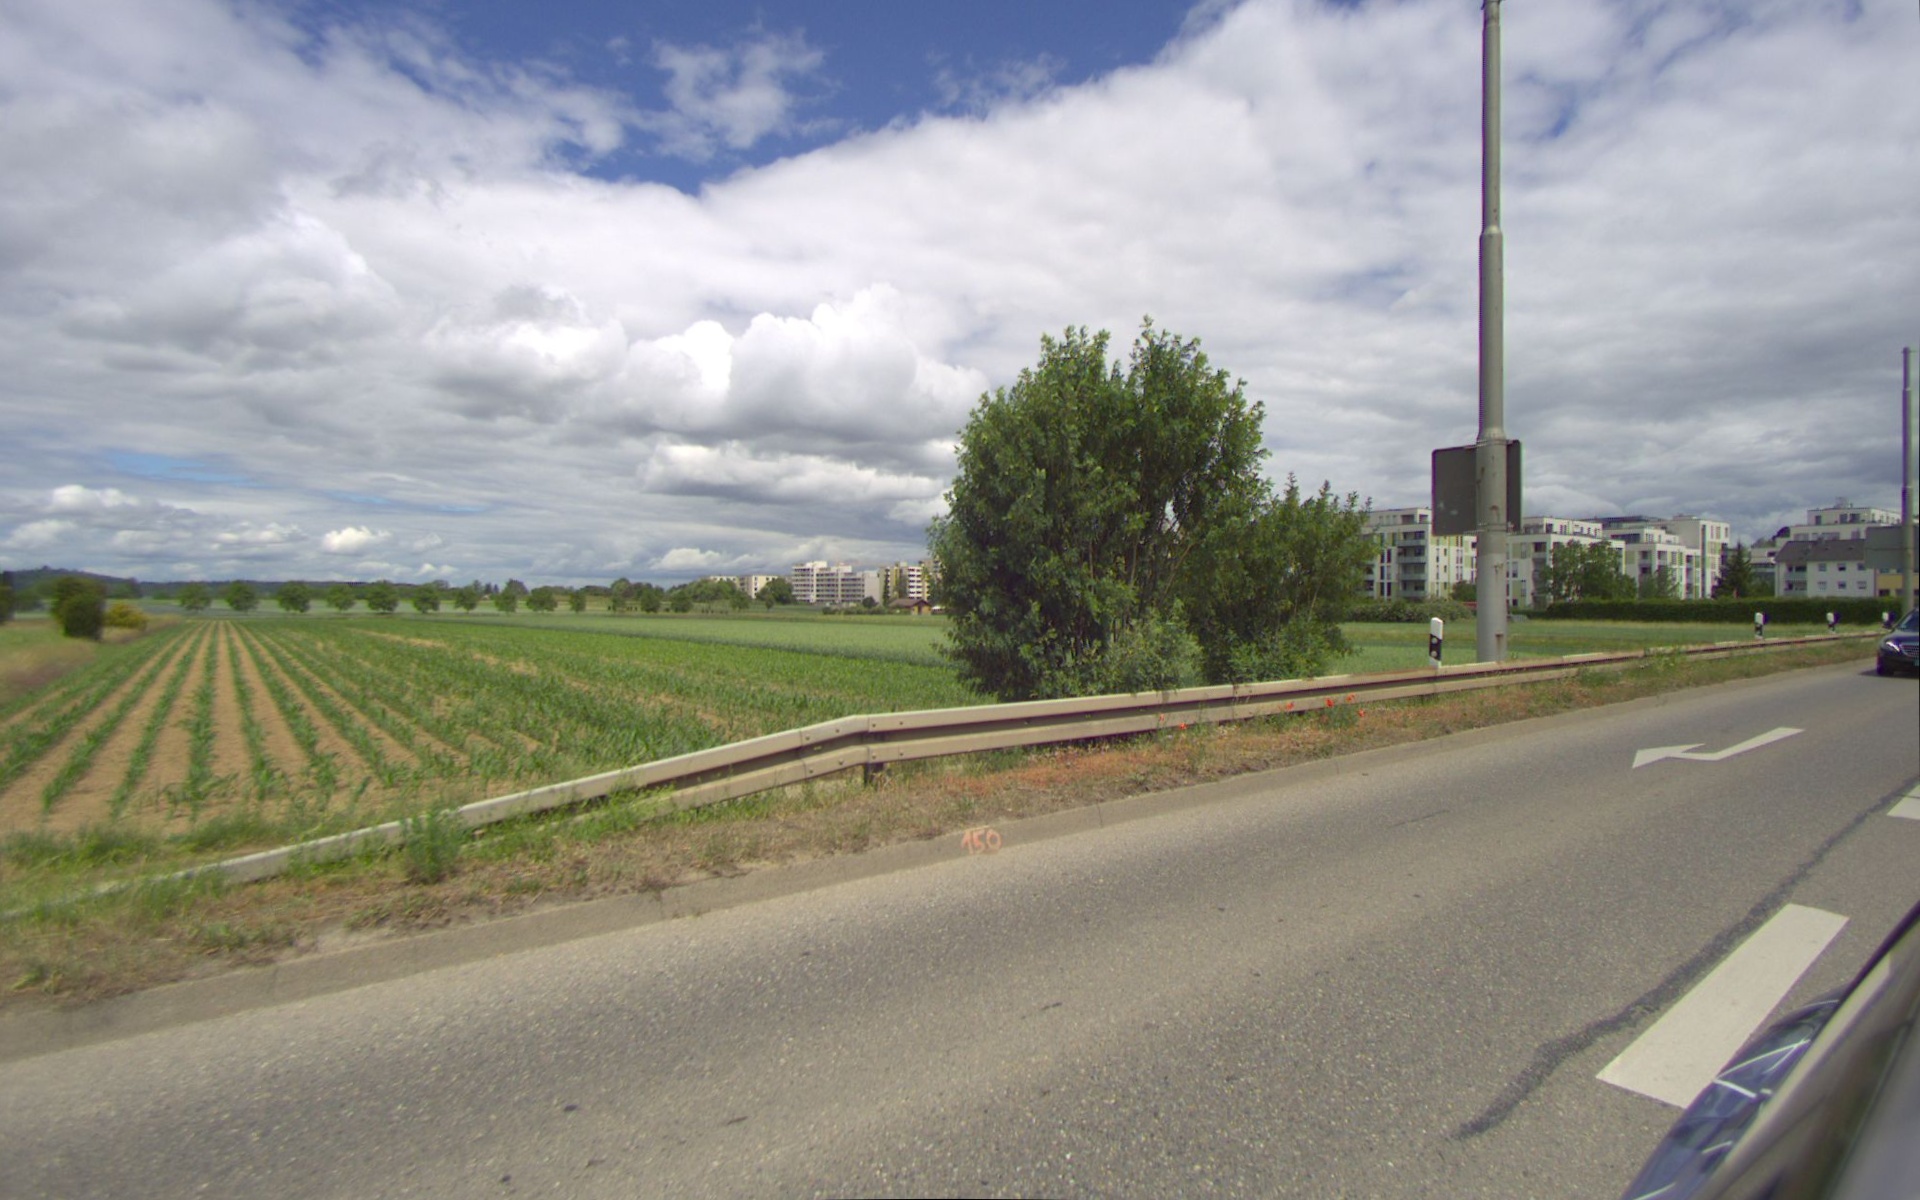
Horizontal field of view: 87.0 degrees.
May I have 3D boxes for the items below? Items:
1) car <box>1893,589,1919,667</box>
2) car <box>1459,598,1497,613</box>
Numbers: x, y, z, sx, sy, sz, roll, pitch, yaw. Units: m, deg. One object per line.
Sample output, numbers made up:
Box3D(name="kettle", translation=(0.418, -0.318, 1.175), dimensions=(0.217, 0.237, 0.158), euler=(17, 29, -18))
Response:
Box3D(name="car", translation=(21.318, 0.650, 21.381), dimensions=(4.720, 1.558, 1.841), euler=(3, -1, -41))
Box3D(name="car", translation=(74.372, 0.770, 145.423), dimensions=(1.964, 2.039, 4.435), euler=(0, 1, -39))
